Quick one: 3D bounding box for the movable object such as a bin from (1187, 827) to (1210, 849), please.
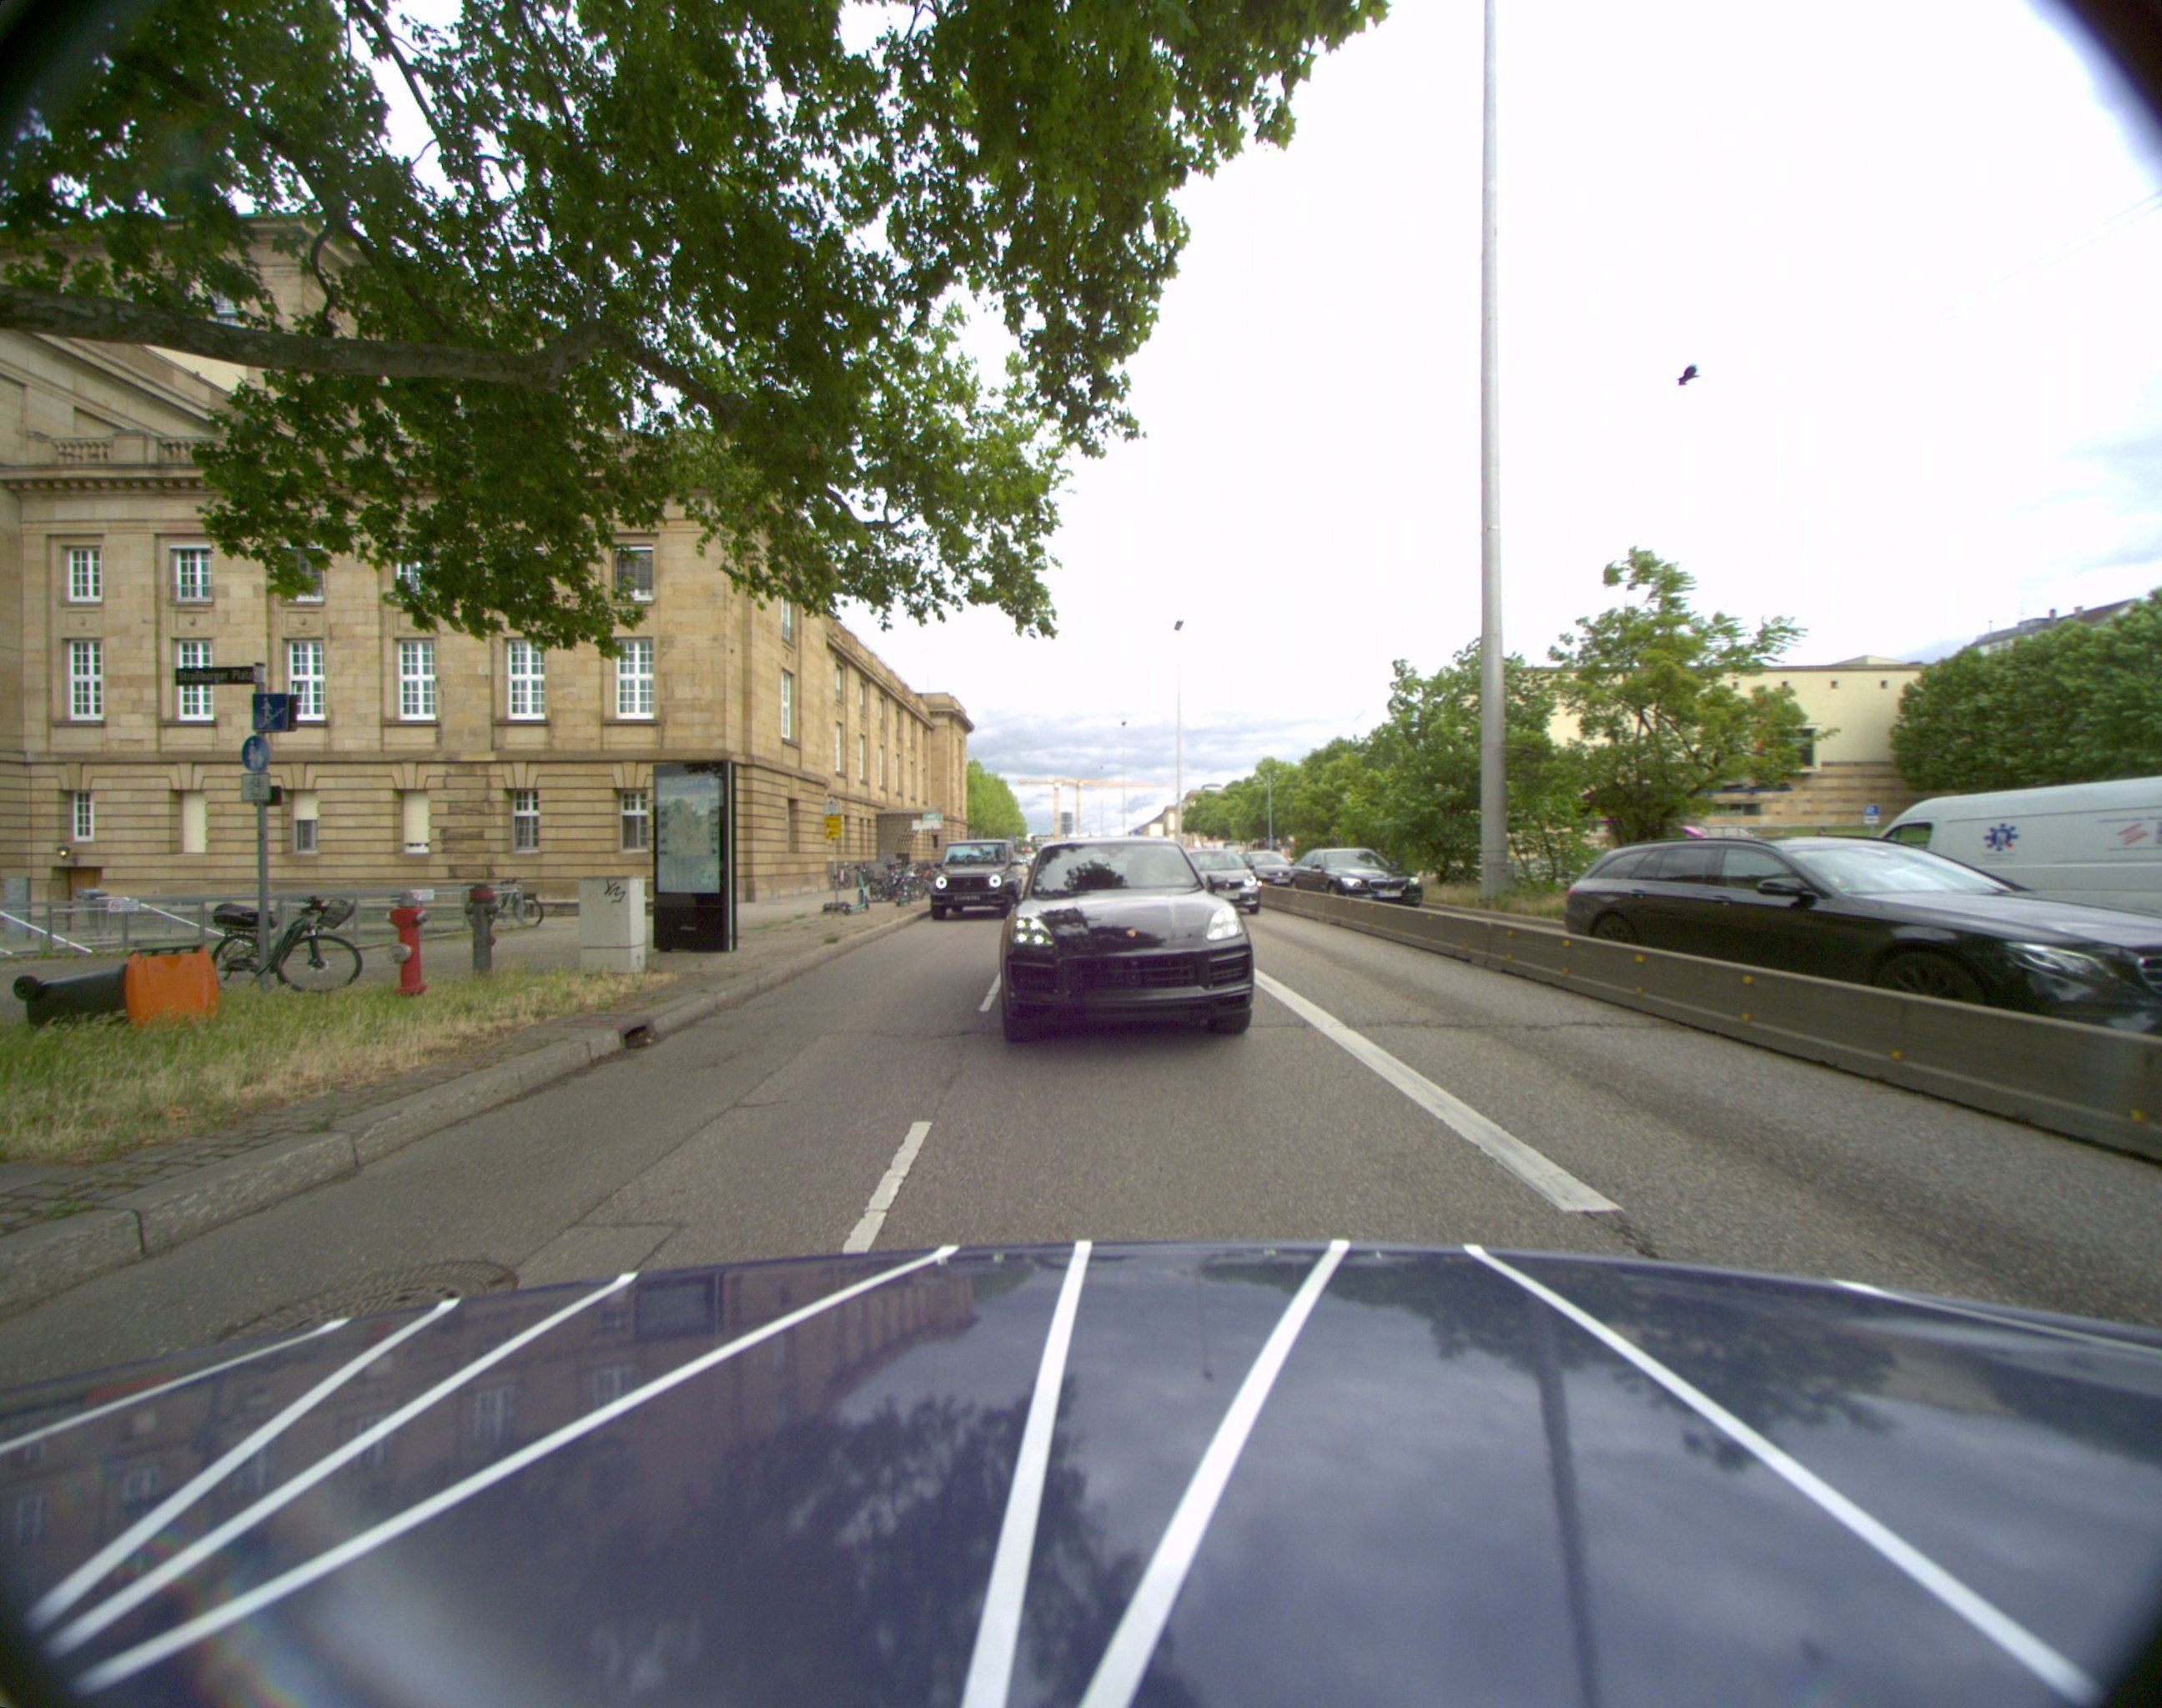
[{"bbox_3d":[11.961,-1.588,77.546,1.526,2.172,3.291,-1,0,-4],"label":"movable object such as a bin"}]

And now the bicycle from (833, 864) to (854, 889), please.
[{"bbox_3d":[-10.209,0.971,32.704,0.241,0.992,1.962,-1,1,0],"label":"bicycle"}]

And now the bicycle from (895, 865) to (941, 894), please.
[{"bbox_3d":[-6.018,0.938,28.095,1.565,1.022,0.436,-2,1,12],"label":"bicycle"}]

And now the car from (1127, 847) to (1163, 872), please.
[{"bbox_3d":[4.452,0.333,53.326,1.781,1.611,4.044,-2,1,-5],"label":"car"}]

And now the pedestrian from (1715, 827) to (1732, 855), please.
[{"bbox_3d":[42.807,-0.881,50.658,0.692,1.842,0.805,-2,1,30],"label":"pedestrian"}]

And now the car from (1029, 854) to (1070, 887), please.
[{"bbox_3d":[-1.519,0.784,38.148,1.930,1.501,3.999,-1,0,-1],"label":"car"}]

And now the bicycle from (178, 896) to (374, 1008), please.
[{"bbox_3d":[-9.306,1.126,8.812,1.789,1.214,0.492,-1,1,3],"label":"bicycle"}]

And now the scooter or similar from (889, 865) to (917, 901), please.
[{"bbox_3d":[-6.381,1.024,27.229,0.426,1.217,1.313,-2,1,10],"label":"scooter or similar"}]

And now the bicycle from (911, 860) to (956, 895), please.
[{"bbox_3d":[-5.555,0.898,28.666,1.544,1.249,0.544,-2,1,19],"label":"bicycle"}]

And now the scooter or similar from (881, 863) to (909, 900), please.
[{"bbox_3d":[-6.697,0.973,27.356,0.563,1.271,1.148,-2,0,6],"label":"scooter or similar"}]

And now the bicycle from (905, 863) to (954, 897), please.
[{"bbox_3d":[-5.400,0.913,27.142,1.616,1.123,0.407,-2,1,-26],"label":"bicycle"}]

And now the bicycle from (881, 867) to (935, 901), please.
[{"bbox_3d":[-5.740,0.996,25.255,1.731,1.085,0.381,-1,1,13],"label":"bicycle"}]

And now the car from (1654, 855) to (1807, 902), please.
[{"bbox_3d":[23.015,0.807,27.181,1.649,1.518,4.522,-1,0,1],"label":"car"}]

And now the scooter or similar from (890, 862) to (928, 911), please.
[{"bbox_3d":[-4.941,0.910,21.893,0.727,1.324,1.413,-2,1,-1],"label":"scooter or similar"}]

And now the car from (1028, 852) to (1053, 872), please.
[{"bbox_3d":[-3.264,0.634,61.218,1.931,1.501,3.998,-1,0,-4],"label":"car"}]

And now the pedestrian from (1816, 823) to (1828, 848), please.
[{"bbox_3d":[49.517,-1.225,50.778,0.348,1.602,0.405,-3,1,1],"label":"pedestrian"}]

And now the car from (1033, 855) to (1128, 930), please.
[{"bbox_3d":[-0.048,0.792,17.507,1.930,1.501,3.999,-1,0,-1],"label":"car"}]

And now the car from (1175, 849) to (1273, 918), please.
[{"bbox_3d":[3.448,0.645,19.011,1.690,1.496,3.999,-1,1,0],"label":"car"}]

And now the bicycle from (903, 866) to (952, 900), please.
[{"bbox_3d":[-5.496,1.028,27.244,1.616,1.123,0.469,-2,1,-26],"label":"bicycle"}]

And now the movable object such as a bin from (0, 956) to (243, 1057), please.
[{"bbox_3d":[-7.861,1.233,6.208,1.301,0.648,0.729,-3,1,9],"label":"movable object such as a bin"}]

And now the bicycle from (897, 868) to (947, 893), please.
[{"bbox_3d":[-5.905,0.982,28.189,1.730,0.912,0.614,-1,1,19],"label":"bicycle"}]

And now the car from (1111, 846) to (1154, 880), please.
[{"bbox_3d":[2.589,0.417,39.169,1.690,1.646,3.998,-2,1,-3],"label":"car"}]

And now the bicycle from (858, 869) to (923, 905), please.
[{"bbox_3d":[-6.028,1.044,24.120,1.860,1.085,0.666,-2,1,13],"label":"bicycle"}]

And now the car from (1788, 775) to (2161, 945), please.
[{"bbox_3d":[13.567,0.054,10.675,2.121,1.958,5.578,-1,0,1],"label":"car"}]

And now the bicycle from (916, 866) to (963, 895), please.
[{"bbox_3d":[-5.422,1.017,29.072,1.664,1.068,0.586,-1,1,20],"label":"bicycle"}]

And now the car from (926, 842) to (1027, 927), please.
[{"bbox_3d":[-2.563,0.695,19.710,1.952,1.914,4.399,-1,0,0],"label":"car"}]

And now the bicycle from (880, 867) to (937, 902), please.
[{"bbox_3d":[-5.819,1.027,25.685,1.731,1.085,0.575,-2,1,9],"label":"bicycle"}]

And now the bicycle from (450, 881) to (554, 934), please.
[{"bbox_3d":[-13.022,1.196,17.113,2.016,1.119,0.389,-1,1,0],"label":"bicycle"}]

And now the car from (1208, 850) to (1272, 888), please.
[{"bbox_3d":[6.887,0.595,33.247,1.677,1.498,3.852,-2,1,-5],"label":"car"}]

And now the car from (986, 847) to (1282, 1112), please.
[{"bbox_3d":[0.140,0.767,6.929,1.909,1.648,4.198,0,1,-6],"label":"car"}]

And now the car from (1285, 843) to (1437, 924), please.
[{"bbox_3d":[6.513,0.595,18.358,1.928,1.626,4.936,-2,1,1],"label":"car"}]

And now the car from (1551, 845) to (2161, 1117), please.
[{"bbox_3d":[6.539,0.685,6.649,1.821,1.490,4.767,-1,1,-1],"label":"car"}]

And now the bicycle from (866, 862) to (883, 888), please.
[{"bbox_3d":[-10.145,1.017,37.327,0.276,1.176,1.538,-2,1,3],"label":"bicycle"}]

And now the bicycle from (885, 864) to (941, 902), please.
[{"bbox_3d":[-5.757,0.993,26.141,1.762,1.202,0.604,-2,1,-3],"label":"bicycle"}]

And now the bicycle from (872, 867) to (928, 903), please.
[{"bbox_3d":[-5.924,1.012,24.860,1.731,1.085,0.426,-2,1,13],"label":"bicycle"}]

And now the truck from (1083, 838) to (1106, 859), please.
[{"bbox_3d":[1.809,-0.684,104.375,2.978,2.757,7.254,0,0,-1],"label":"truck"}]

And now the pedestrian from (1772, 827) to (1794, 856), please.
[{"bbox_3d":[46.188,-0.802,50.015,0.693,1.842,0.804,-3,1,1],"label":"pedestrian"}]

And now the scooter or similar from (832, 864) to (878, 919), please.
[{"bbox_3d":[-5.696,0.924,19.215,0.432,1.273,1.435,-2,1,12],"label":"scooter or similar"}]

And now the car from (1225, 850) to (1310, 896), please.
[{"bbox_3d":[6.466,0.603,26.794,1.664,1.446,4.196,-2,1,-4],"label":"car"}]
